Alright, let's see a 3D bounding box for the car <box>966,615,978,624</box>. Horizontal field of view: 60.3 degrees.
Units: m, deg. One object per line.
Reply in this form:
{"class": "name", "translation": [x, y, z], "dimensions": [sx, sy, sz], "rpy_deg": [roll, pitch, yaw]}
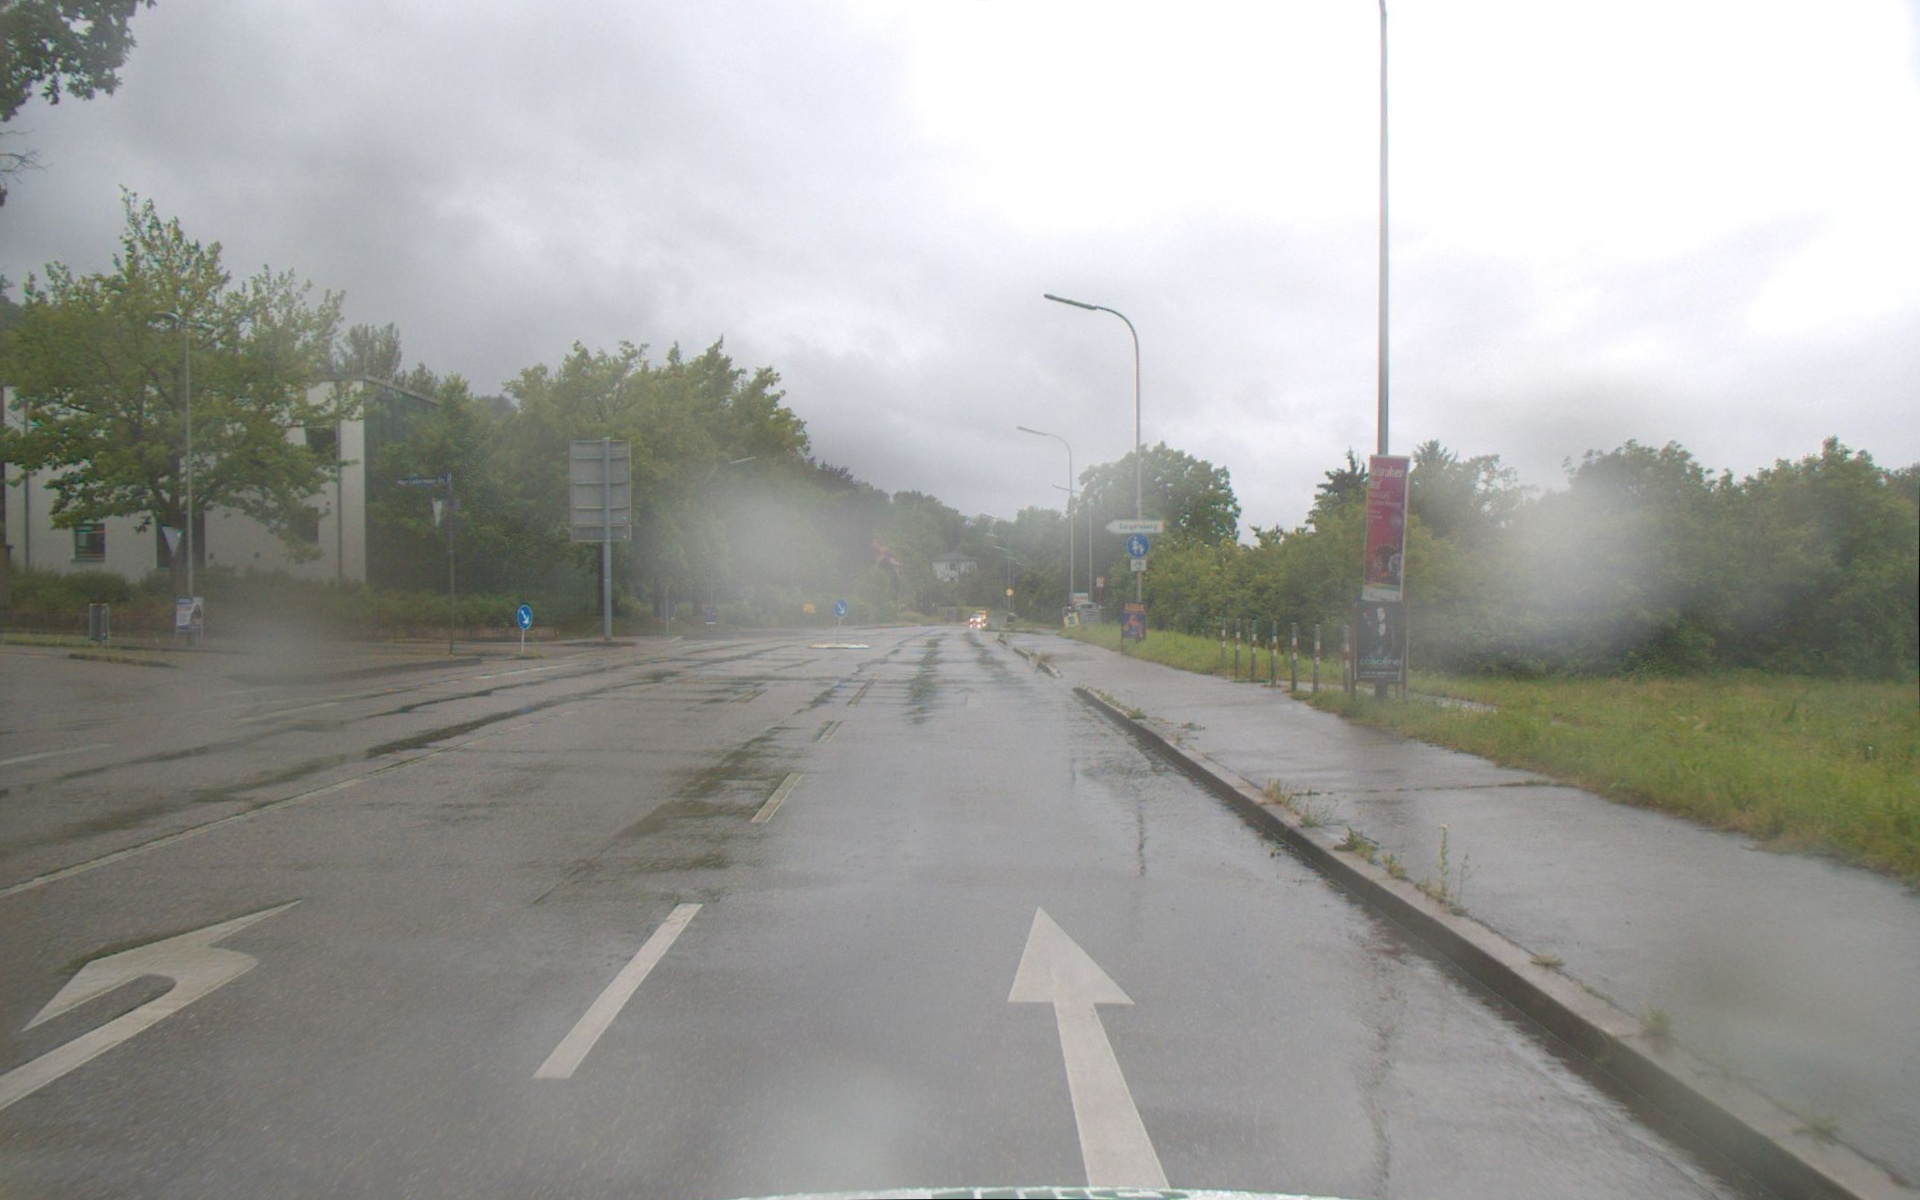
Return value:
{"class": "car", "translation": [1.700, 2.811, 238.664], "dimensions": [1.666, 1.373, 3.906], "rpy_deg": [0, -1, 1]}
